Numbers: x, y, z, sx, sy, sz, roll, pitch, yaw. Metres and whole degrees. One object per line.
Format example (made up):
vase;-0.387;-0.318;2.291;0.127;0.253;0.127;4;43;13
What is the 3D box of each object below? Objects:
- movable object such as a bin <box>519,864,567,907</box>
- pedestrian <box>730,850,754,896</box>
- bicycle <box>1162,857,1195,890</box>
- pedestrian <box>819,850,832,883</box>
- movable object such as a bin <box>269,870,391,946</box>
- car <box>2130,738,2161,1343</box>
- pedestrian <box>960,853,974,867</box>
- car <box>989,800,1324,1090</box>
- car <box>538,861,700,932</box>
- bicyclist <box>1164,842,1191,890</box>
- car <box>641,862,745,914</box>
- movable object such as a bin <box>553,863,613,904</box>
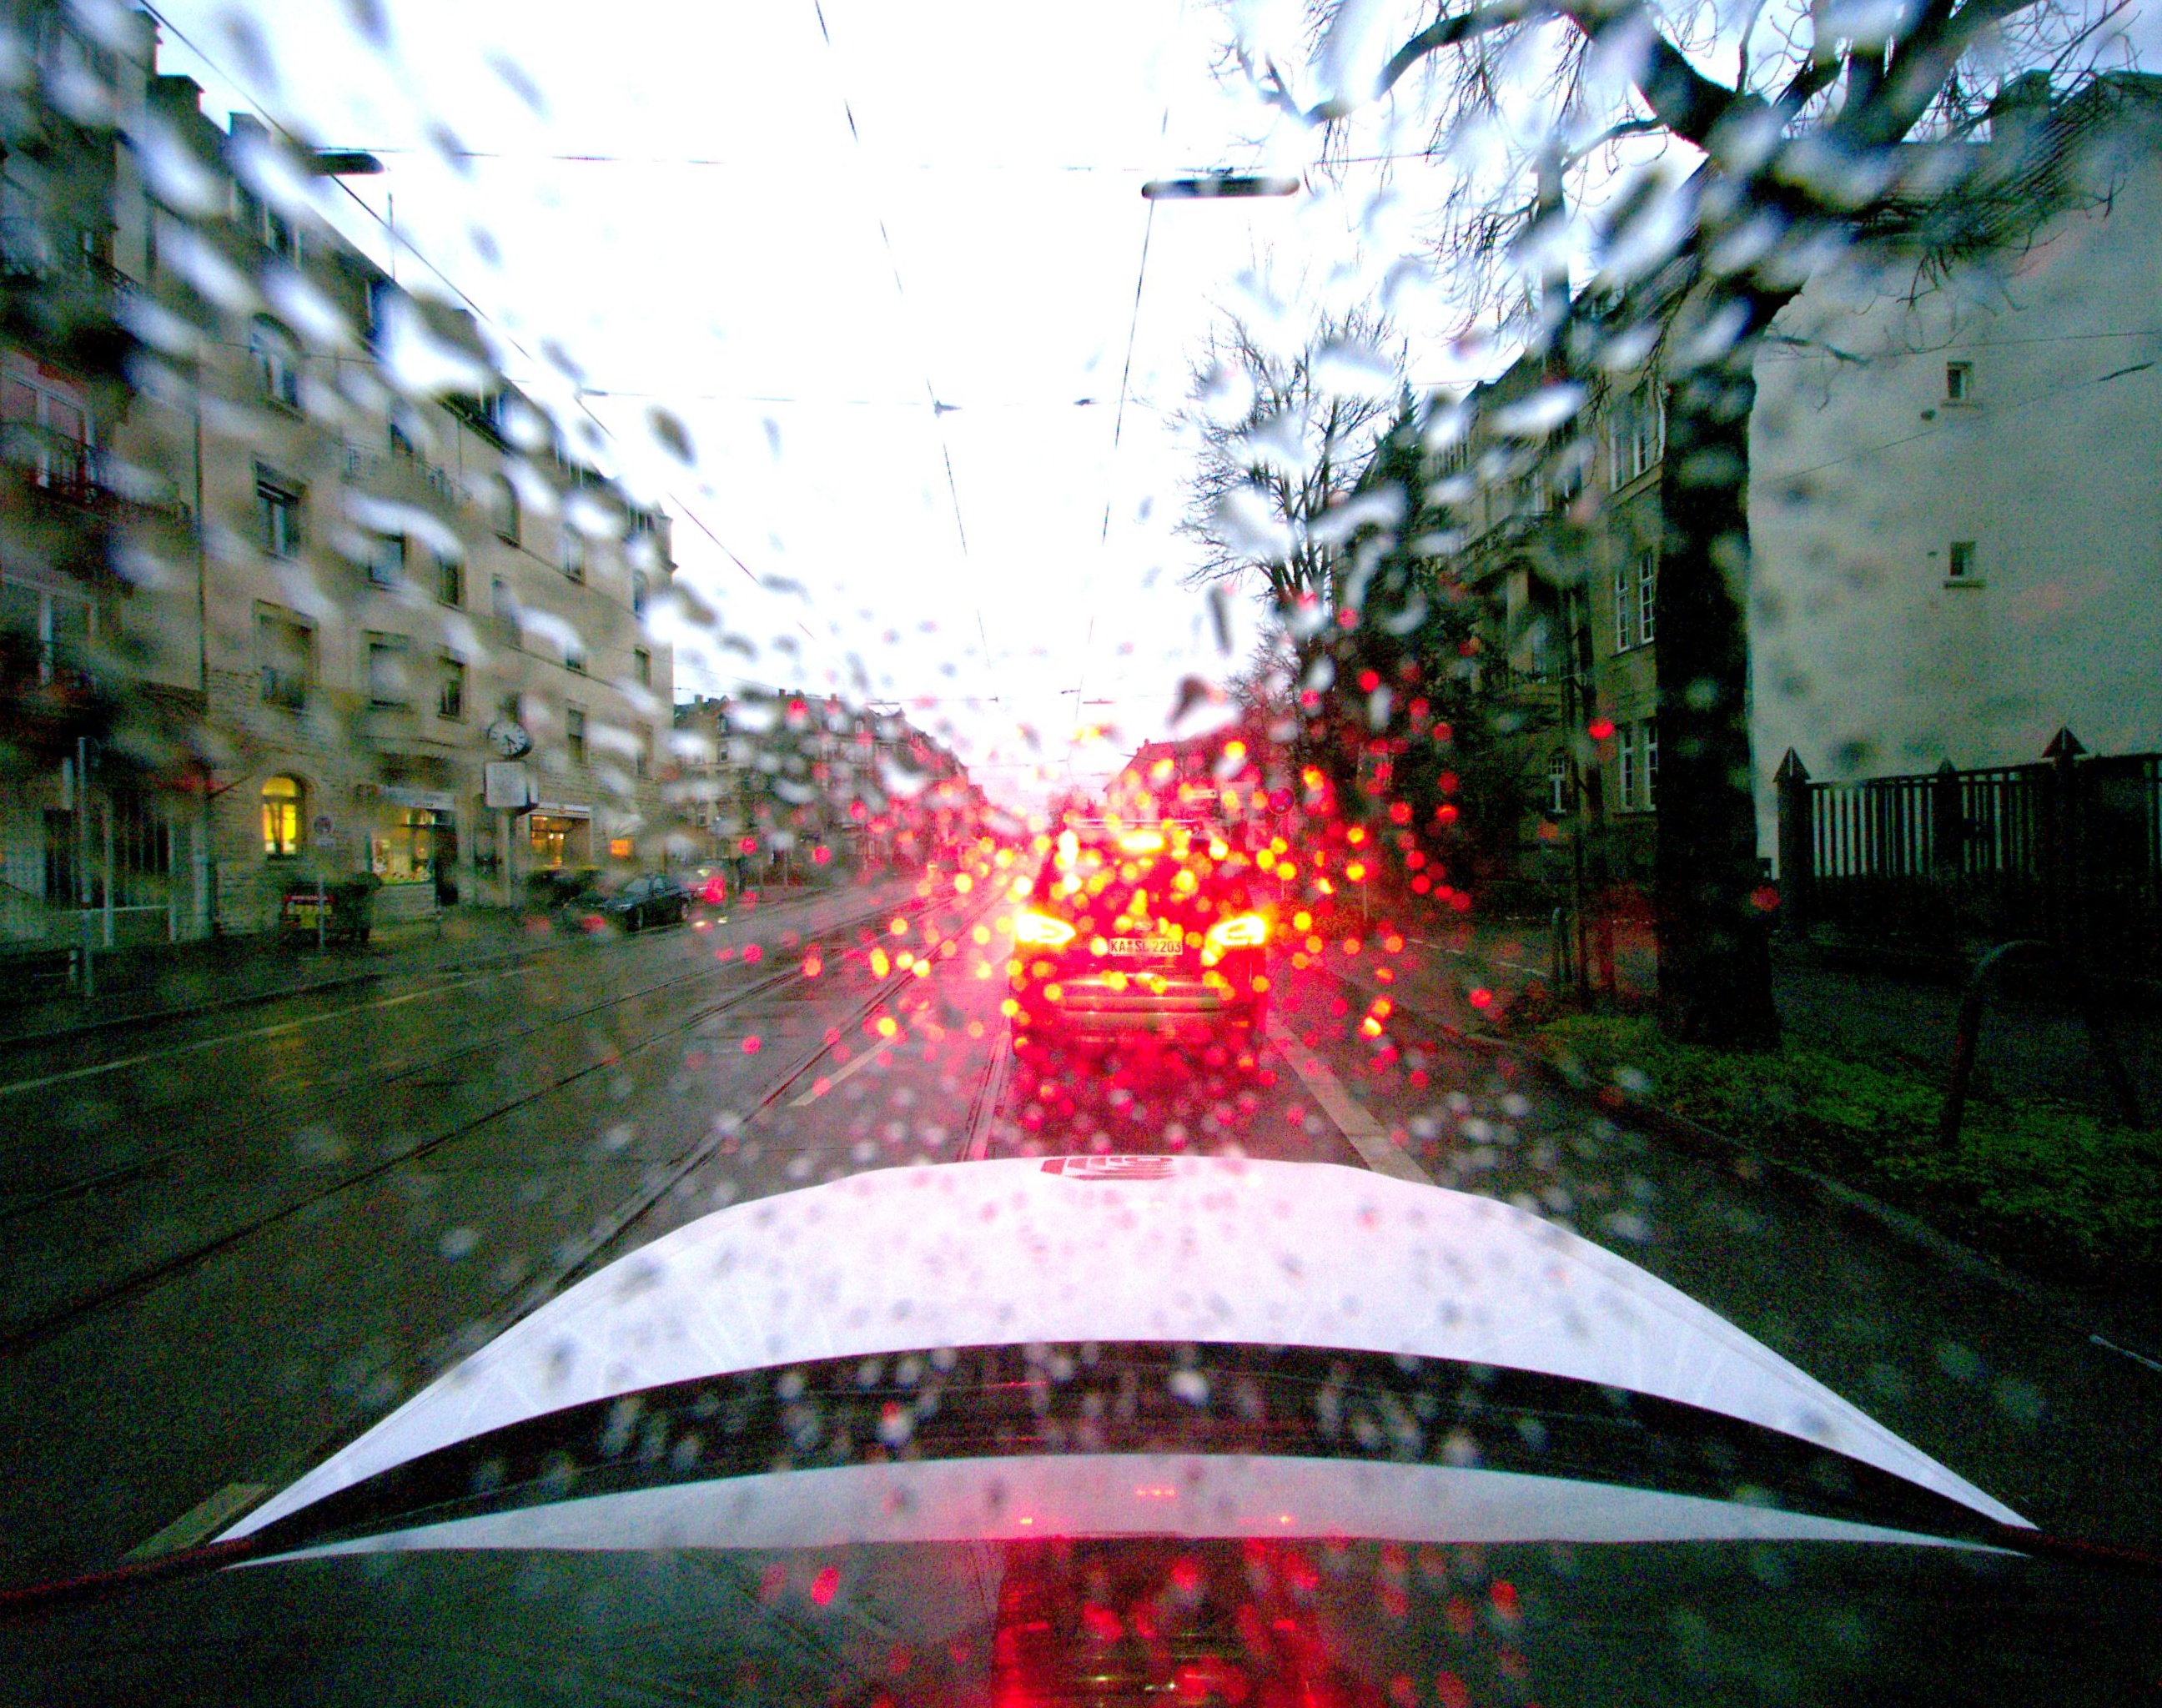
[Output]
movable object such as a bin;-17.852;1.035;27.053;0.896;1.377;1.006;-1;0;-2
pedestrian;-14.935;0.830;35.912;0.748;2.014;0.652;-1;-1;34
bicycle;3.479;0.691;29.290;0.716;1.112;1.937;3;0;-6
pedestrian;-15.871;0.765;50.515;0.707;2.013;0.656;-1;0;-21
movable object such as a bin;-15.084;1.062;16.411;1.264;1.420;1.249;-1;0;-2
car;4.421;0.554;0.130;2.025;1.875;4.959;-2;0;-2
pedestrian;-9.525;0.485;68.325;1.044;1.200;0.884;-1;-1;-1
car;0.491;0.568;7.450;2.097;1.816;4.660;0;0;0
car;-12.469;1.089;22.396;1.982;1.645;4.623;3;-1;-4
bicyclist;3.460;0.408;29.261;0.716;1.662;1.054;2;0;-6
car;-13.369;1.116;28.363;2.035;1.551;4.022;2;0;-7
movable object such as a bin;-17.372;1.019;28.438;1.290;1.367;1.251;-1;0;-2
